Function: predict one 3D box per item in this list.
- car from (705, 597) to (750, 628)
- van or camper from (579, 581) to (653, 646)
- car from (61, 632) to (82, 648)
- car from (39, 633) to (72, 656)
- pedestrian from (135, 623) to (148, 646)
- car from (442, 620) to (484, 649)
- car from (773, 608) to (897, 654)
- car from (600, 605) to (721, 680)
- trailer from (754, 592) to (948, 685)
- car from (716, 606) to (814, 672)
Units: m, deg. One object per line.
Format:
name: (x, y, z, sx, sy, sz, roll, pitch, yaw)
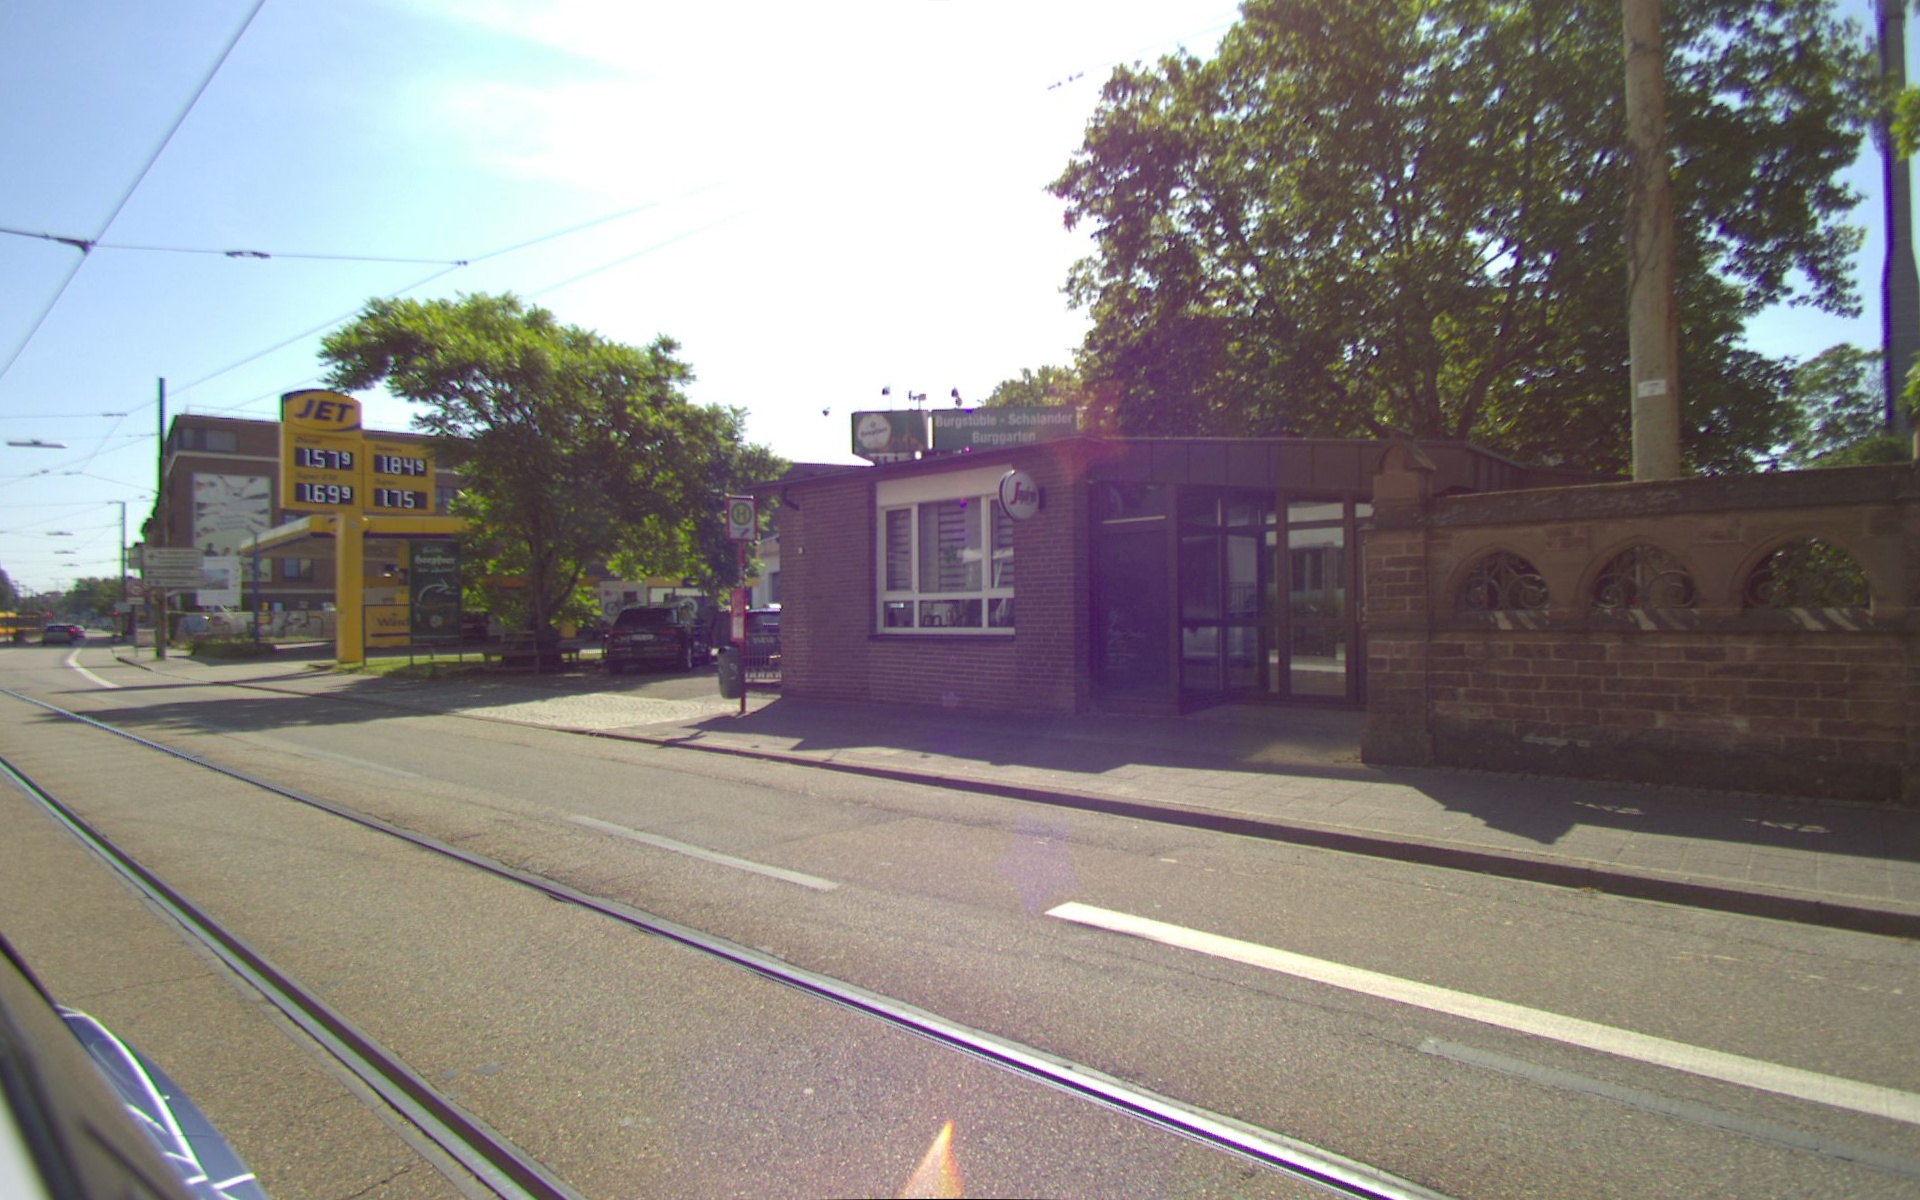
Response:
car: (-14.561, 0.760, 63.269, 1.748, 1.775, 4.489, -3, 2, -25)
van or camper: (-17.742, 0.622, 51.893, 2.571, 2.989, 6.735, -4, 1, -26)
car: (-100.006, 4.487, 113.978, 1.691, 1.634, 3.584, -2, -1, -41)
car: (-66.417, 3.250, 74.315, 1.725, 1.583, 3.895, 1, -2, -43)
pedestrian: (-65.502, 2.773, 80.983, 0.834, 1.833, 0.840, 0, -2, -41)
car: (-25.307, 1.742, 51.609, 1.673, 1.313, 4.404, -3, 0, -24)
car: (-4.569, 1.093, 37.032, 4.099, 1.539, 1.944, -1, 0, -23)
car: (-7.256, 0.991, 24.975, 1.920, 1.637, 4.583, -1, -1, -4)
trailer: (-1.957, 0.657, 18.731, 1.777, 1.537, 3.180, -2, -1, 43)
car: (-4.824, 0.921, 25.642, 1.920, 1.479, 4.583, -1, -1, -4)
